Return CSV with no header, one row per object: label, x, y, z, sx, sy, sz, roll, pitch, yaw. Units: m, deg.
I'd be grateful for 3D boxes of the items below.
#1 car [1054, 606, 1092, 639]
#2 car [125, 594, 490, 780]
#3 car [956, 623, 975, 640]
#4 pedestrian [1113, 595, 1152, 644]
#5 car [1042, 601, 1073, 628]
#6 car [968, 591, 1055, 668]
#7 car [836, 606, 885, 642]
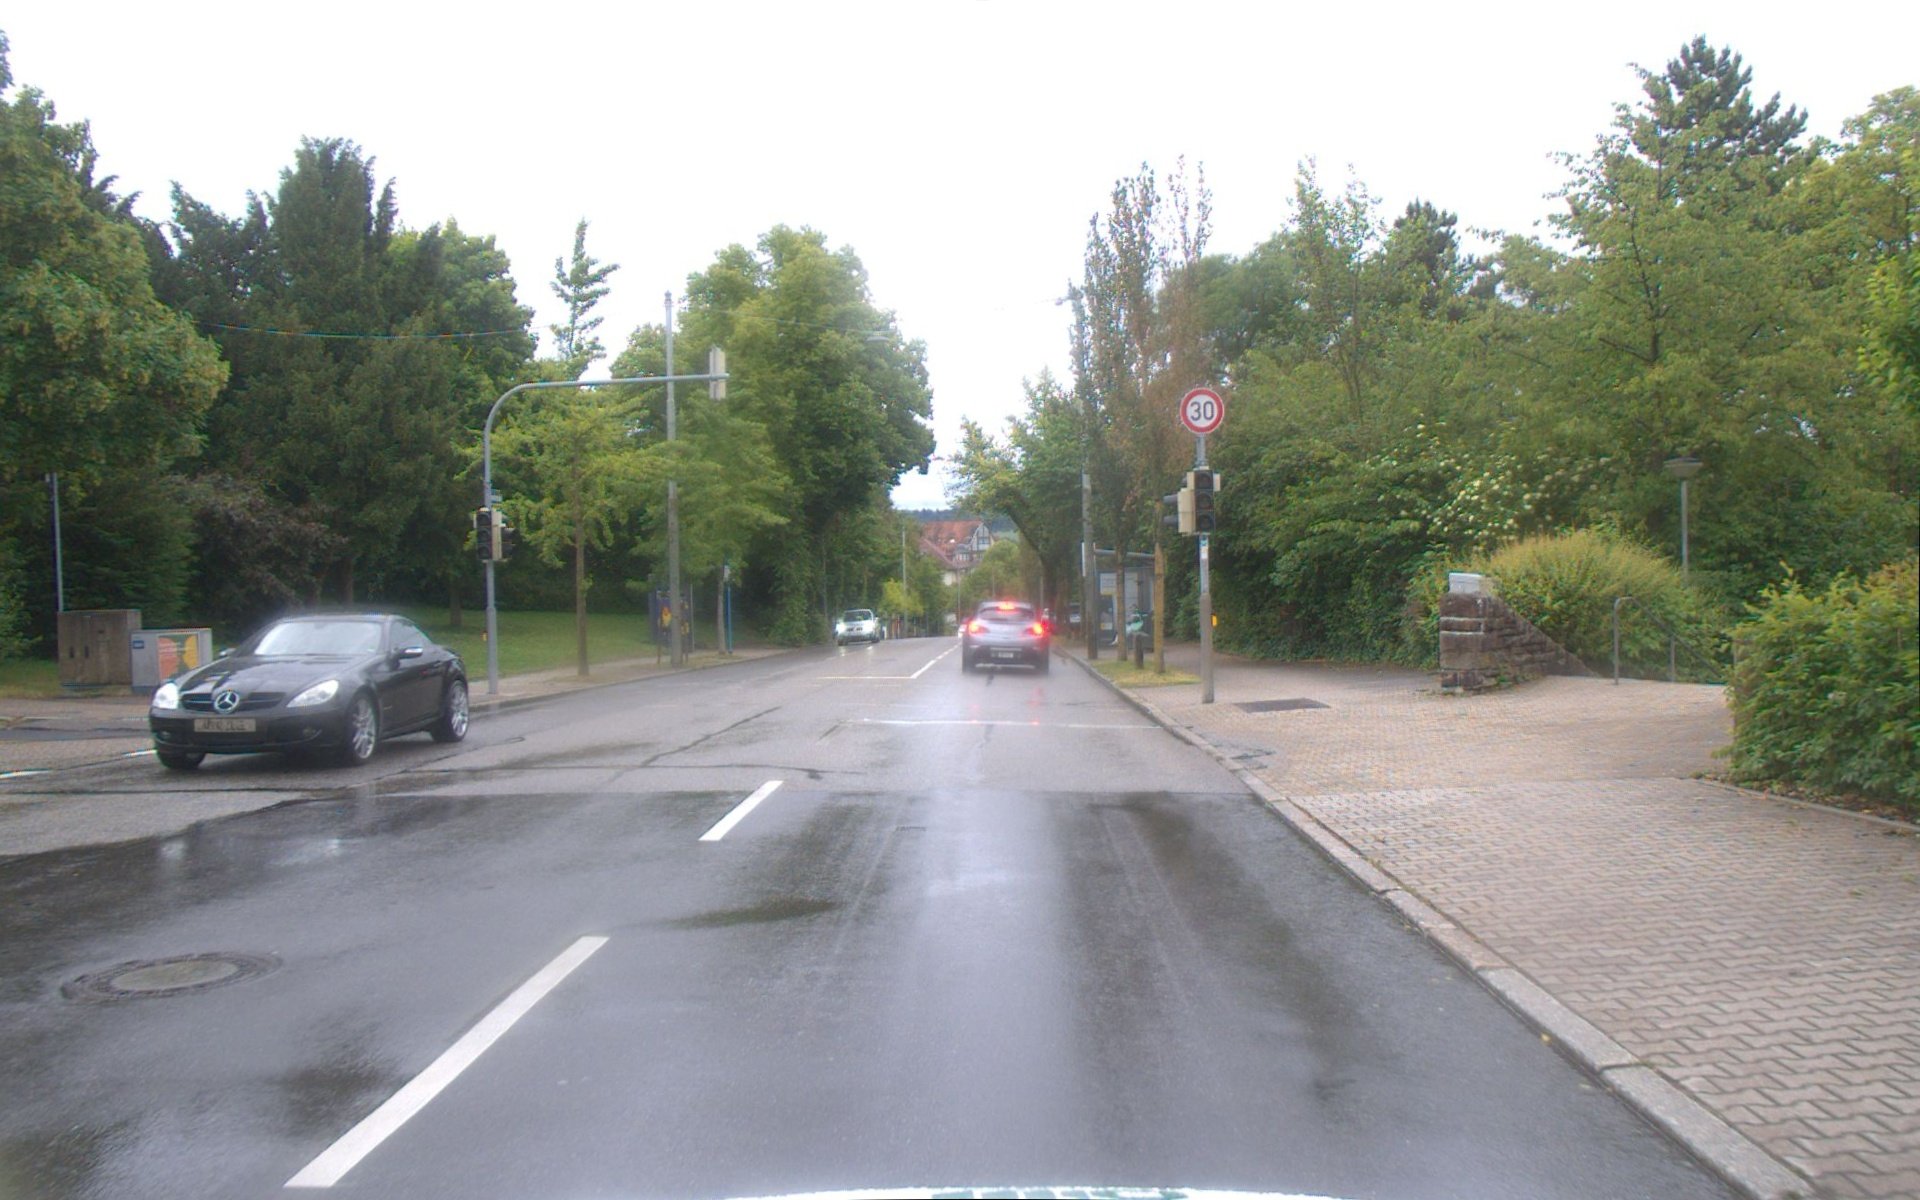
car,5.514,1.092,81.041,1.686,1.489,4.001,-2,0,2
car,-5.872,0.702,15.454,1.626,1.329,4.085,-3,1,2
car,0.532,3.030,161.104,1.686,1.489,4.001,2,0,2
pedestrian,5.041,0.566,48.208,1.051,1.379,0.919,-2,0,8
car,5.638,0.819,96.206,1.686,1.489,4.001,-2,0,2
car,1.055,0.585,35.345,1.718,1.489,4.000,1,1,0
car,-4.194,1.006,70.110,1.686,1.423,4.001,1,0,2
